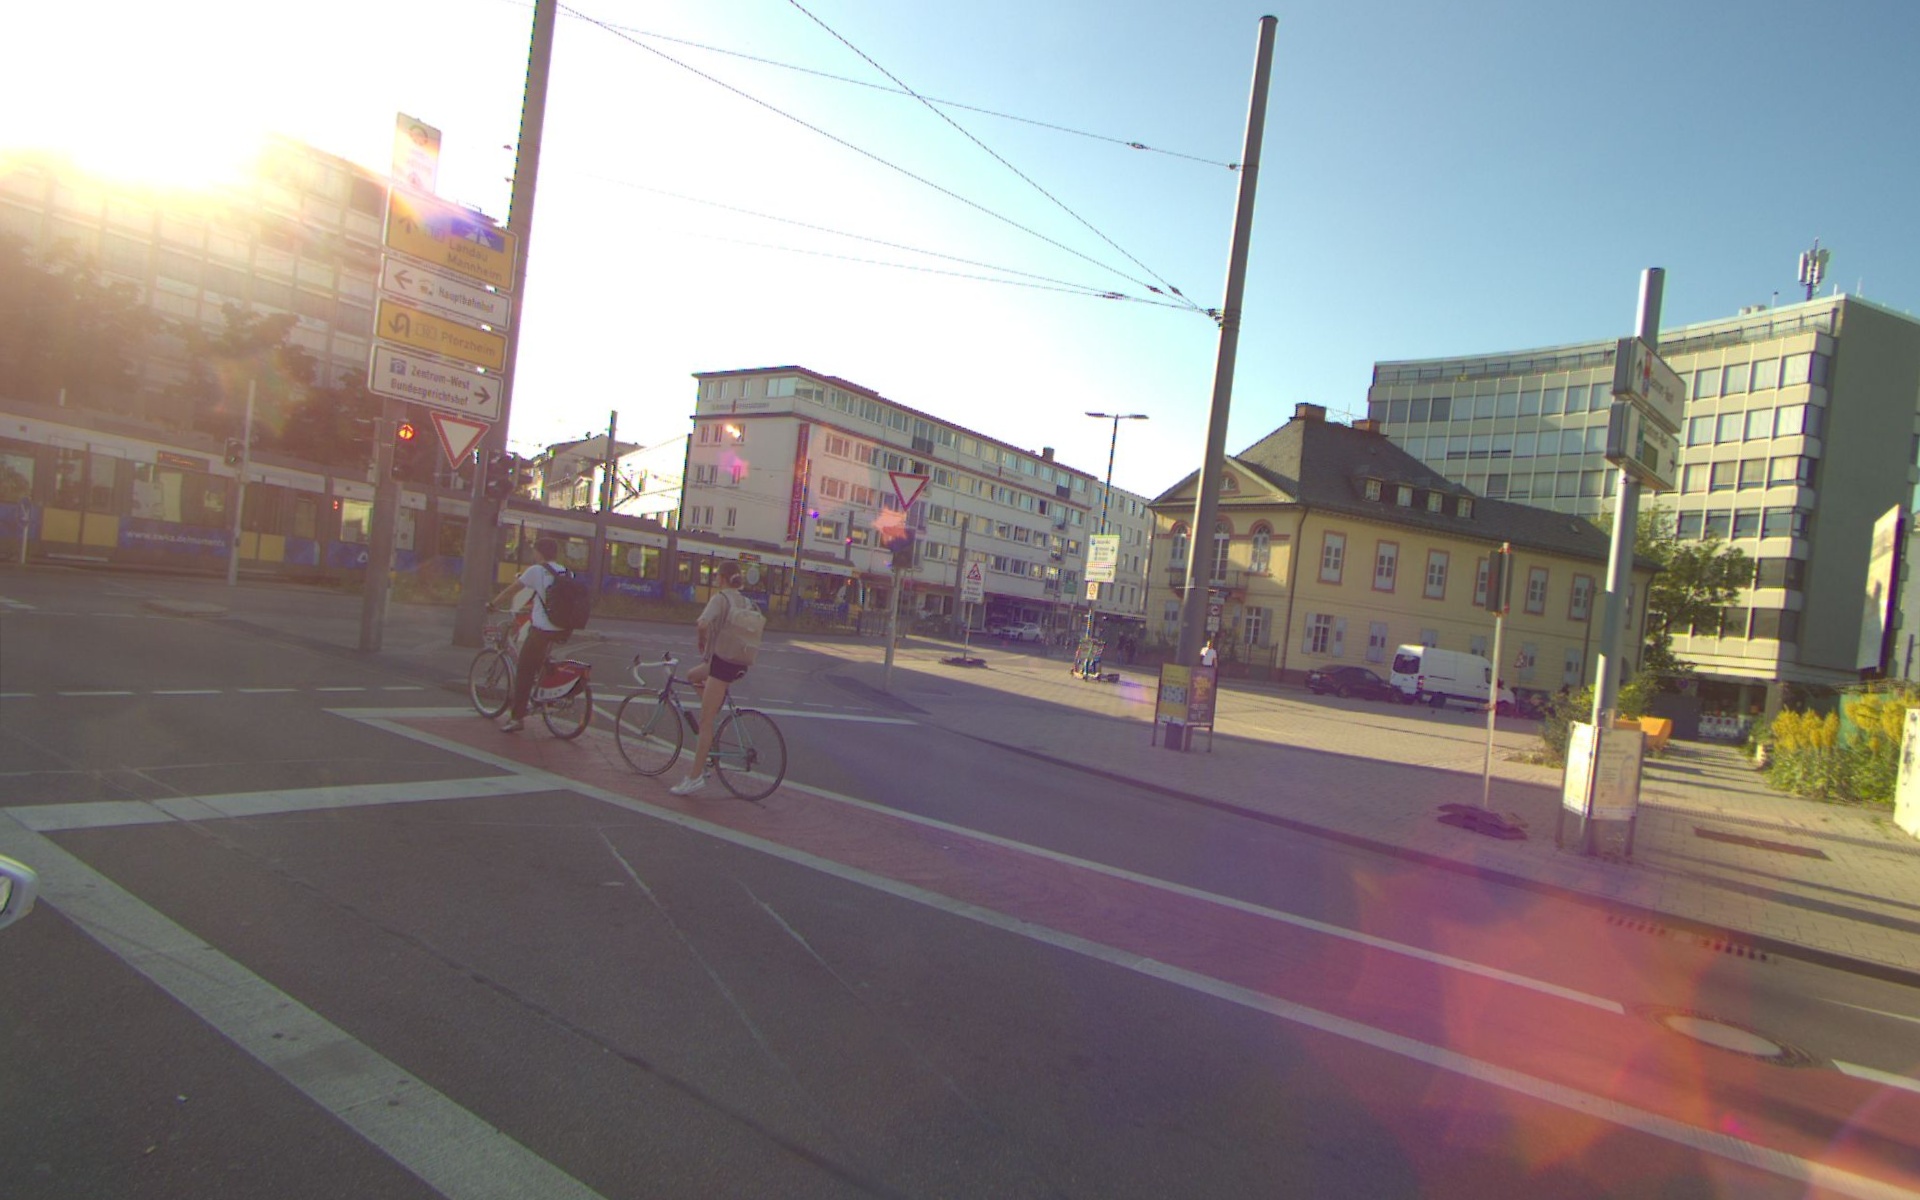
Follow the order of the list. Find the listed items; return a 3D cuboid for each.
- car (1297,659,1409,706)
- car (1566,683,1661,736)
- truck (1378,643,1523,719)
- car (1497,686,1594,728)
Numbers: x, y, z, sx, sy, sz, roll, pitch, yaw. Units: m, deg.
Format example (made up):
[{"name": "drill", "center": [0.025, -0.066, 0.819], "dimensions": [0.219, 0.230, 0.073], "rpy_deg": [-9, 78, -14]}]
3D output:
[{"name": "car", "center": [16.629, 3.493, 42.597], "dimensions": [4.133, 1.380, 1.709], "rpy_deg": [8, -2, -17]}, {"name": "car", "center": [31.159, 5.214, 47.981], "dimensions": [3.706, 2.003, 1.709], "rpy_deg": [8, -2, -17]}, {"name": "truck", "center": [21.840, 3.586, 44.811], "dimensions": [5.556, 2.578, 2.294], "rpy_deg": [8, -2, -17]}, {"name": "car", "center": [27.101, 4.936, 46.593], "dimensions": [3.706, 1.380, 1.709], "rpy_deg": [8, -2, -17]}]
